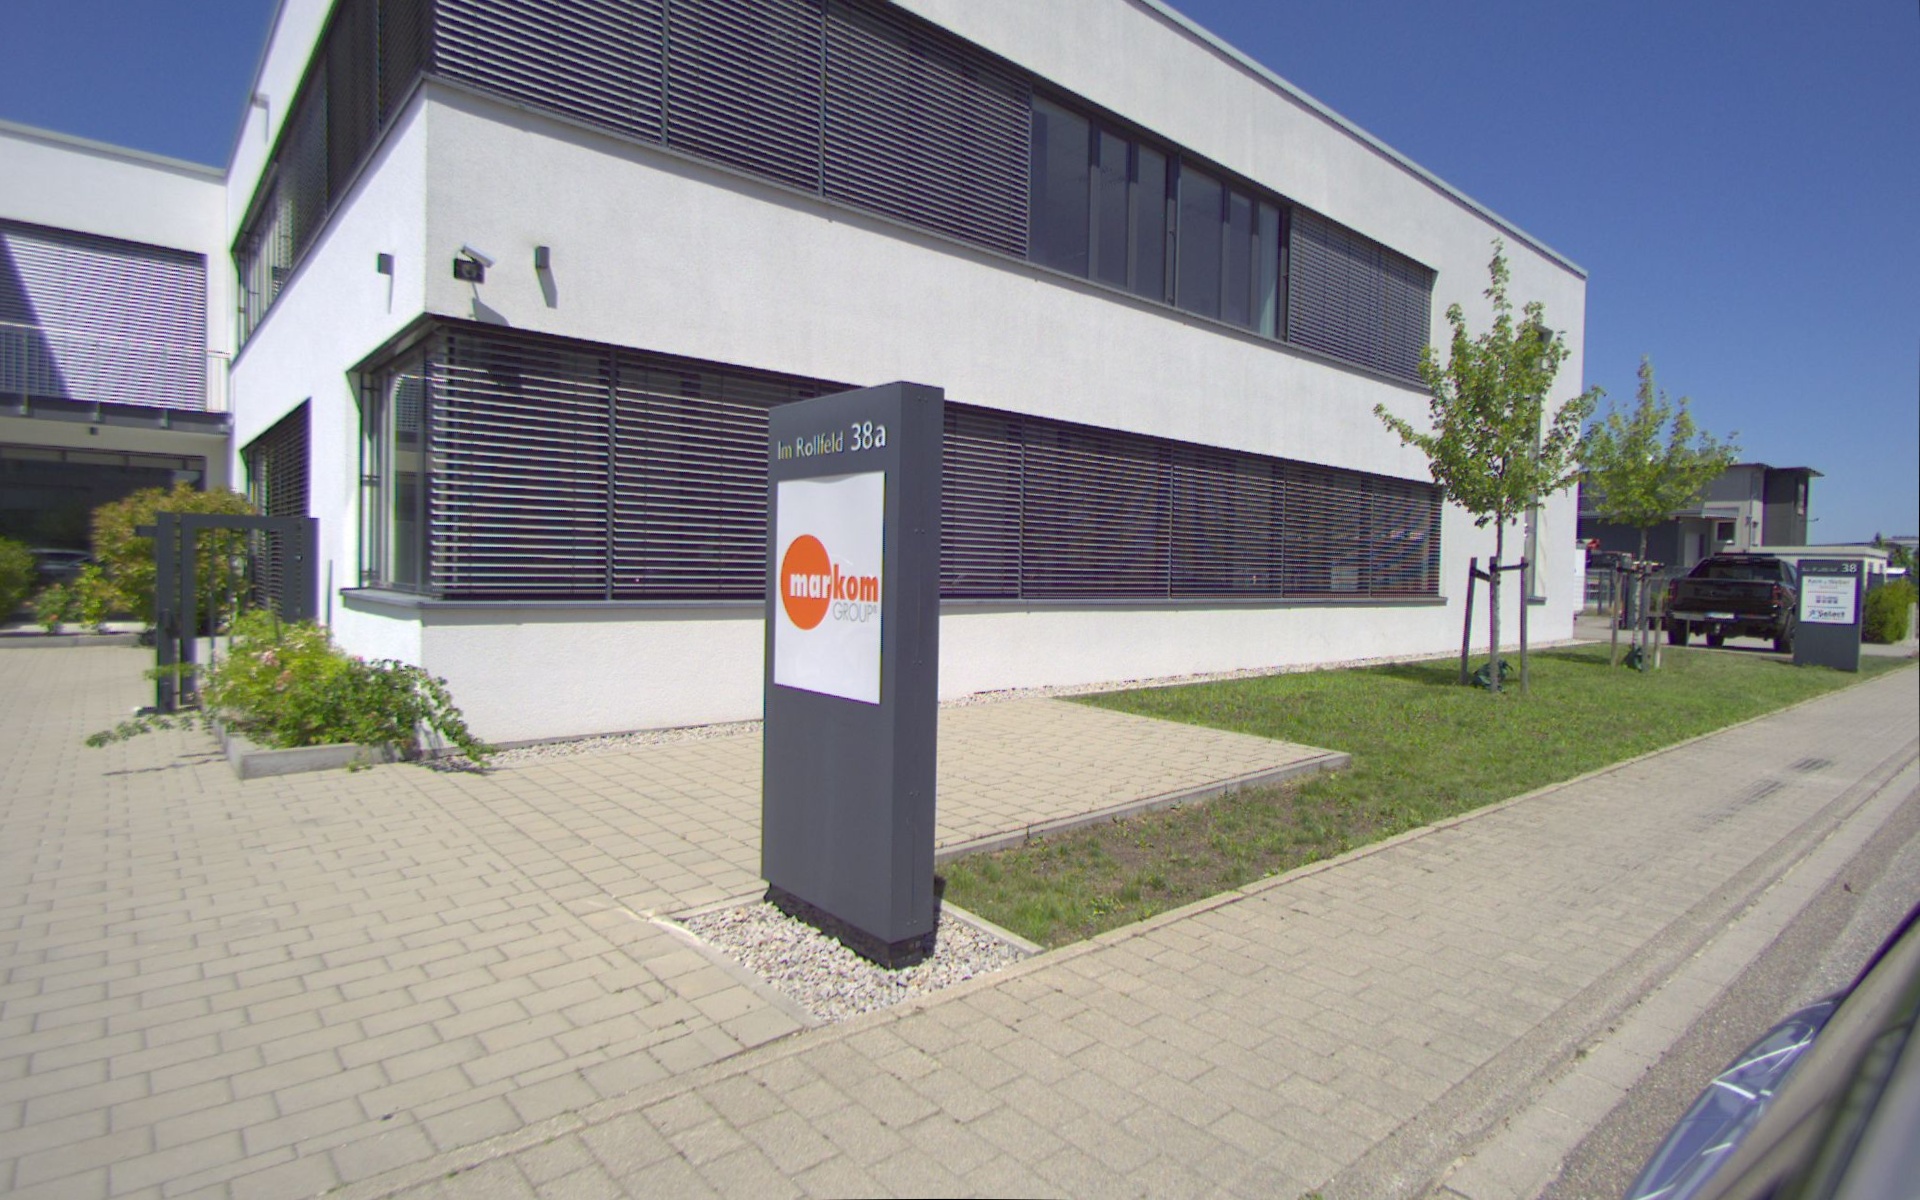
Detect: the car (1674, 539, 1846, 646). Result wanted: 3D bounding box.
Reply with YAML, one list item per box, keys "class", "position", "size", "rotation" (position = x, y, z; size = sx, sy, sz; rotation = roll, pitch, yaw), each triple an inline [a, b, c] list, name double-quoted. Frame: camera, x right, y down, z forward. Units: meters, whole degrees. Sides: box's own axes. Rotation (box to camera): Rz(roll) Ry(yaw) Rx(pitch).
- class: "car"
  position: [17.449, -0.090, 21.956]
  size: [5.700, 2.039, 1.997]
  rotation: [2, 1, -43]

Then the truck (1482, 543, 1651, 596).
- class: "truck"
  position: [38.742, -1.978, 65.020]
  size: [2.642, 3.216, 8.963]
  rotation: [0, 2, -40]

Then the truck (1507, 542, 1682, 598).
- class: "truck"
  position: [37.191, -1.766, 59.641]
  size: [2.579, 3.059, 8.351]
  rotation: [0, 2, -40]
